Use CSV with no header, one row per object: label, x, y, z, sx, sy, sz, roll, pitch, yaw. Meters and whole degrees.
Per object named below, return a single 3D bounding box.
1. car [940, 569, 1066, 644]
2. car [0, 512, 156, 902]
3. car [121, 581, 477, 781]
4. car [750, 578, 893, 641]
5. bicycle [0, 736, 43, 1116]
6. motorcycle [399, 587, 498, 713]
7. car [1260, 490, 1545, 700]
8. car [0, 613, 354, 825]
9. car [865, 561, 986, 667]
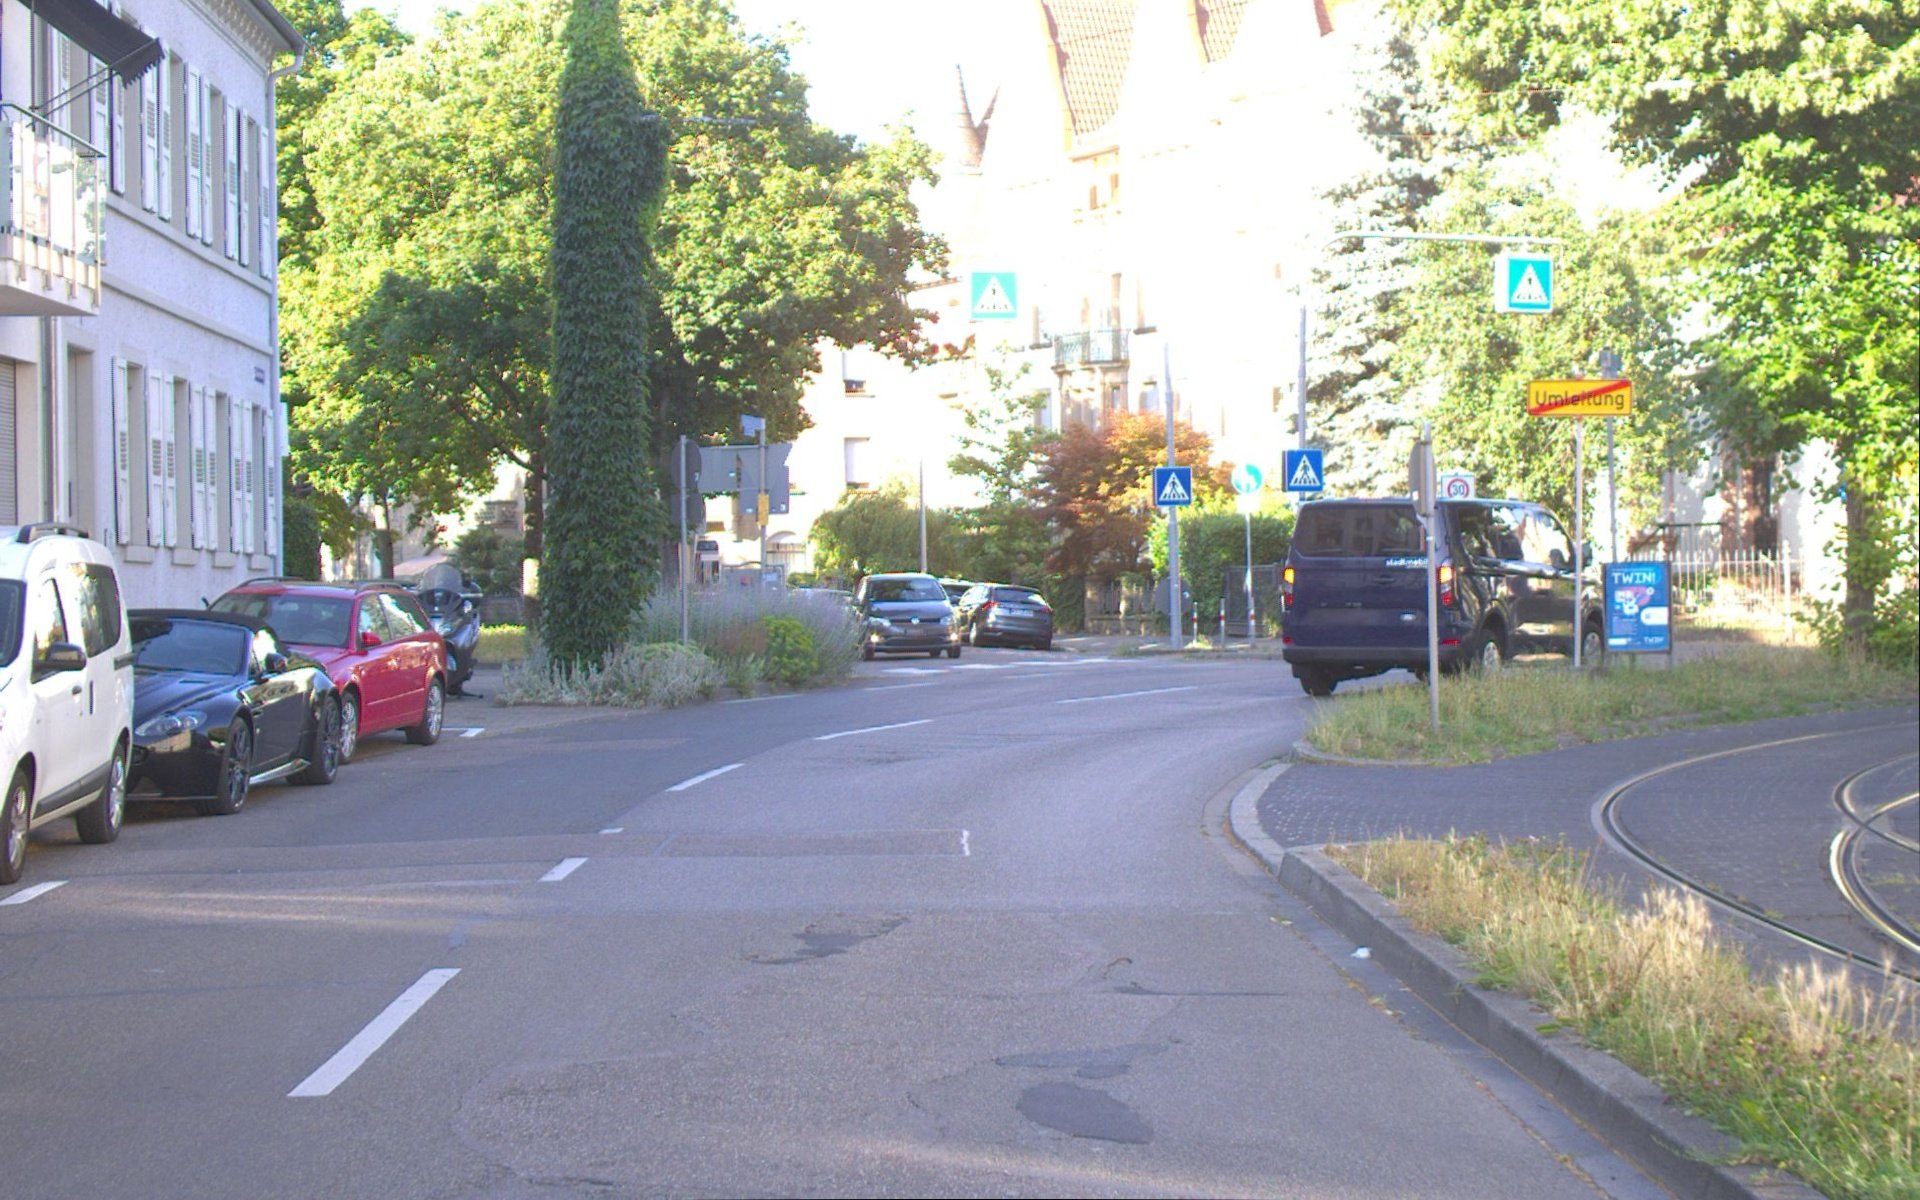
car,0.909,0.130,75.913,1.993,1.590,4.001,-1,0,-11
car,-5.615,0.494,18.468,1.810,1.863,4.333,0,0,-4
car,-5.549,0.626,29.474,1.709,1.461,4.591,0,2,6
car,-3.717,0.233,91.191,2.339,1.590,4.930,-1,0,-21
bicycle,-3.103,0.968,9.501,0.622,1.078,1.783,-3,0,0
motorcycle,-5.769,0.534,38.682,0.930,1.353,2.565,-1,0,-12
car,4.582,-0.090,35.112,1.995,2.007,3.996,-1,1,20
car,-5.370,0.748,23.365,1.664,1.269,4.026,0,0,2
car,-0.619,0.211,58.207,1.712,1.398,3.740,-3,5,-5
